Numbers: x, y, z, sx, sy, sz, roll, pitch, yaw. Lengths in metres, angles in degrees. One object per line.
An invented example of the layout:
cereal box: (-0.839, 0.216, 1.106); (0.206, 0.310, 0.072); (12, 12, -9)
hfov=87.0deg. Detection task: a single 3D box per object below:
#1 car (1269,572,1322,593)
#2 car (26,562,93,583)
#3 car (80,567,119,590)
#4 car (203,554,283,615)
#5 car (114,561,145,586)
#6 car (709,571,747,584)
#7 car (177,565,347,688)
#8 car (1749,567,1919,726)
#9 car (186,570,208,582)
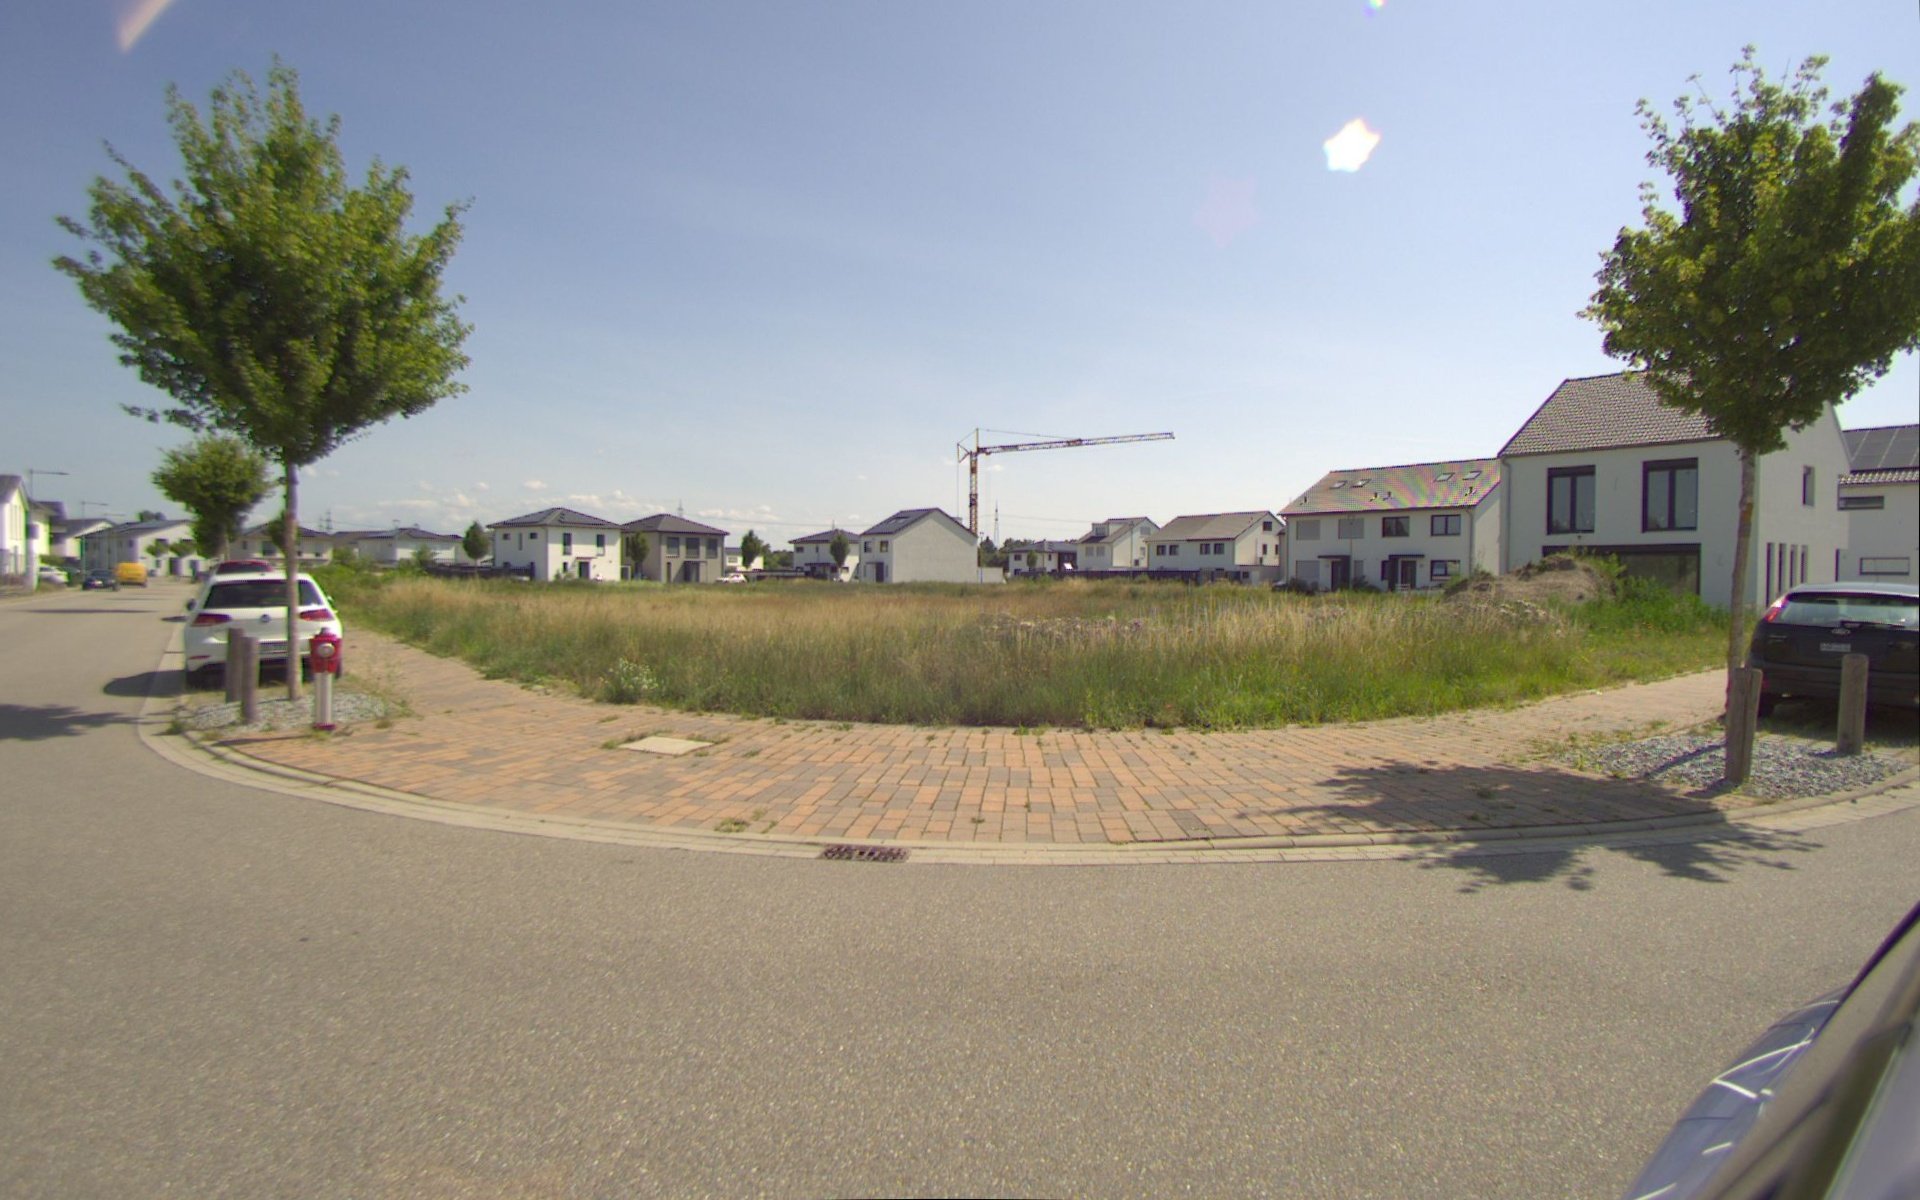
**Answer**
car: (25.947, -1.382, 78.255); (3.923, 1.593, 1.816); (-1, 1, -34)
car: (-79.942, -2.426, 89.908); (1.805, 1.524, 4.117); (1, -2, 37)
car: (-57.850, -1.460, 68.098); (1.718, 1.422, 4.158); (2, 0, -37)
car: (-21.516, -0.516, 30.292); (1.750, 1.683, 4.432); (-2, 3, -38)
car: (-69.339, -2.173, 84.504); (1.914, 2.006, 4.210); (-1, 1, -41)
car: (-25.724, -2.526, 112.403); (1.742, 1.415, 3.944); (0, 1, 39)
car: (-10.094, 0.252, 14.580); (1.748, 1.437, 4.165); (-3, 3, -37)
car: (10.370, 0.430, 11.369); (4.125, 1.512, 1.845); (0, 0, -44)
car: (-89.033, -2.777, 118.110); (1.606, 1.339, 3.823); (0, -1, -44)
